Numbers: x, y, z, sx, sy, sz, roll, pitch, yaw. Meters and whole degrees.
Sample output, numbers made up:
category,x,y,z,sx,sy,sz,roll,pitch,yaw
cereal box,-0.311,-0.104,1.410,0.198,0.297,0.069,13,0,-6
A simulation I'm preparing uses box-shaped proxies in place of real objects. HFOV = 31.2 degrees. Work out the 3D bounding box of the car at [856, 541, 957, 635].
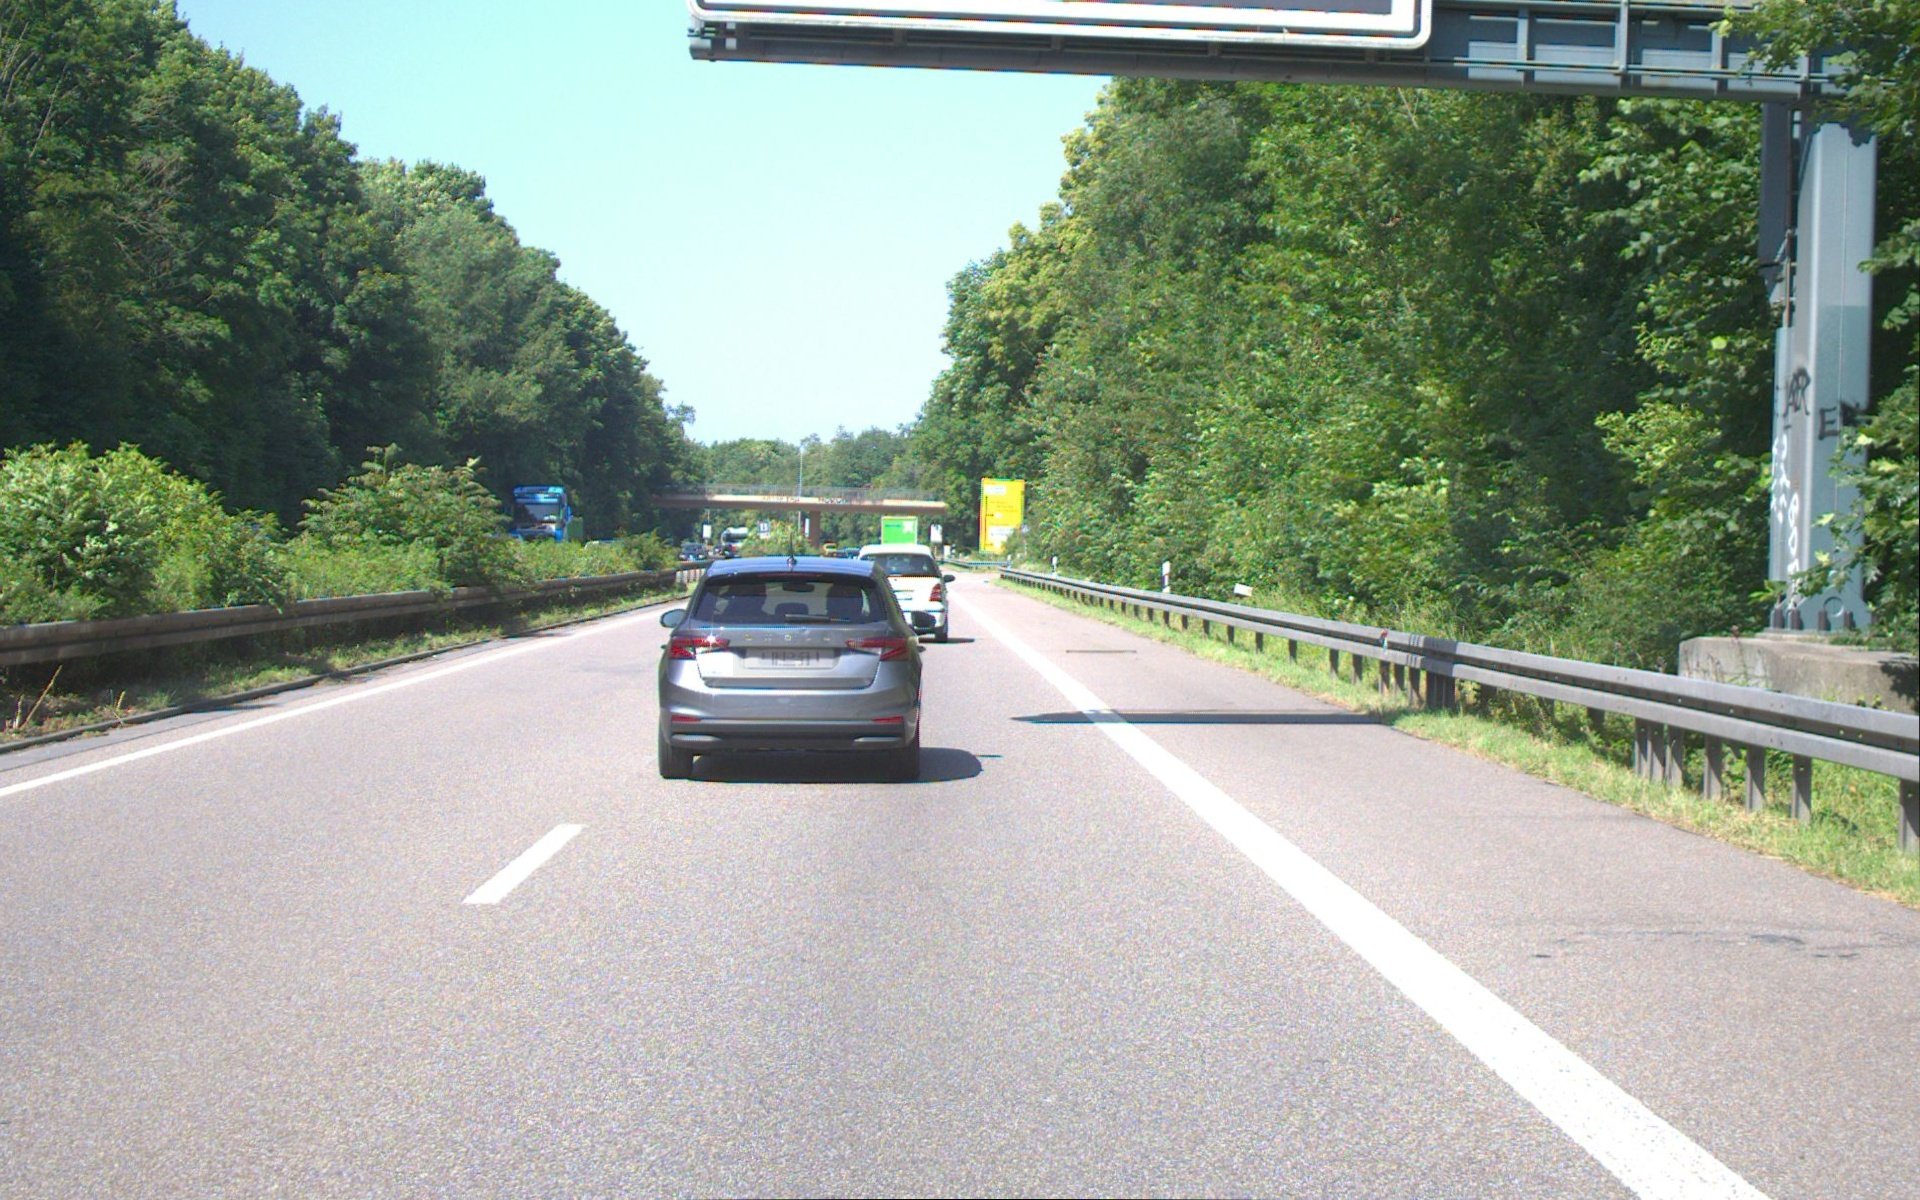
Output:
category,x,y,z,sx,sy,sz,roll,pitch,yaw
car,-0.841,-0.213,55.751,1.522,1.442,3.340,1,1,1

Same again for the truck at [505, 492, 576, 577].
category,x,y,z,sx,sy,sz,roll,pitch,yaw
truck,-18.615,-2.906,152.775,2.646,3.693,4.000,1,0,0

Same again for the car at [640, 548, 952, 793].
category,x,y,z,sx,sy,sz,roll,pitch,yaw
car,-1.018,0.406,23.025,1.840,1.467,3.623,1,1,1

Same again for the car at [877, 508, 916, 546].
category,x,y,z,sx,sy,sz,roll,pitch,yaw
car,-4.499,-5.164,244.470,2.748,2.645,4.000,1,1,-1

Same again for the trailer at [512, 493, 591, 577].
category,x,y,z,sx,sy,sz,roll,pitch,yaw
trailer,-18.662,-2.960,157.375,2.688,3.699,7.984,1,1,-1

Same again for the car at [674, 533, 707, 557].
category,x,y,z,sx,sy,sz,roll,pitch,yaw
car,-16.678,-3.385,212.806,1.672,1.468,3.623,1,1,1

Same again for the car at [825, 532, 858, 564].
category,x,y,z,sx,sy,sz,roll,pitch,yaw
car,-7.589,-3.331,220.808,1.993,2.007,4.000,1,1,-1
